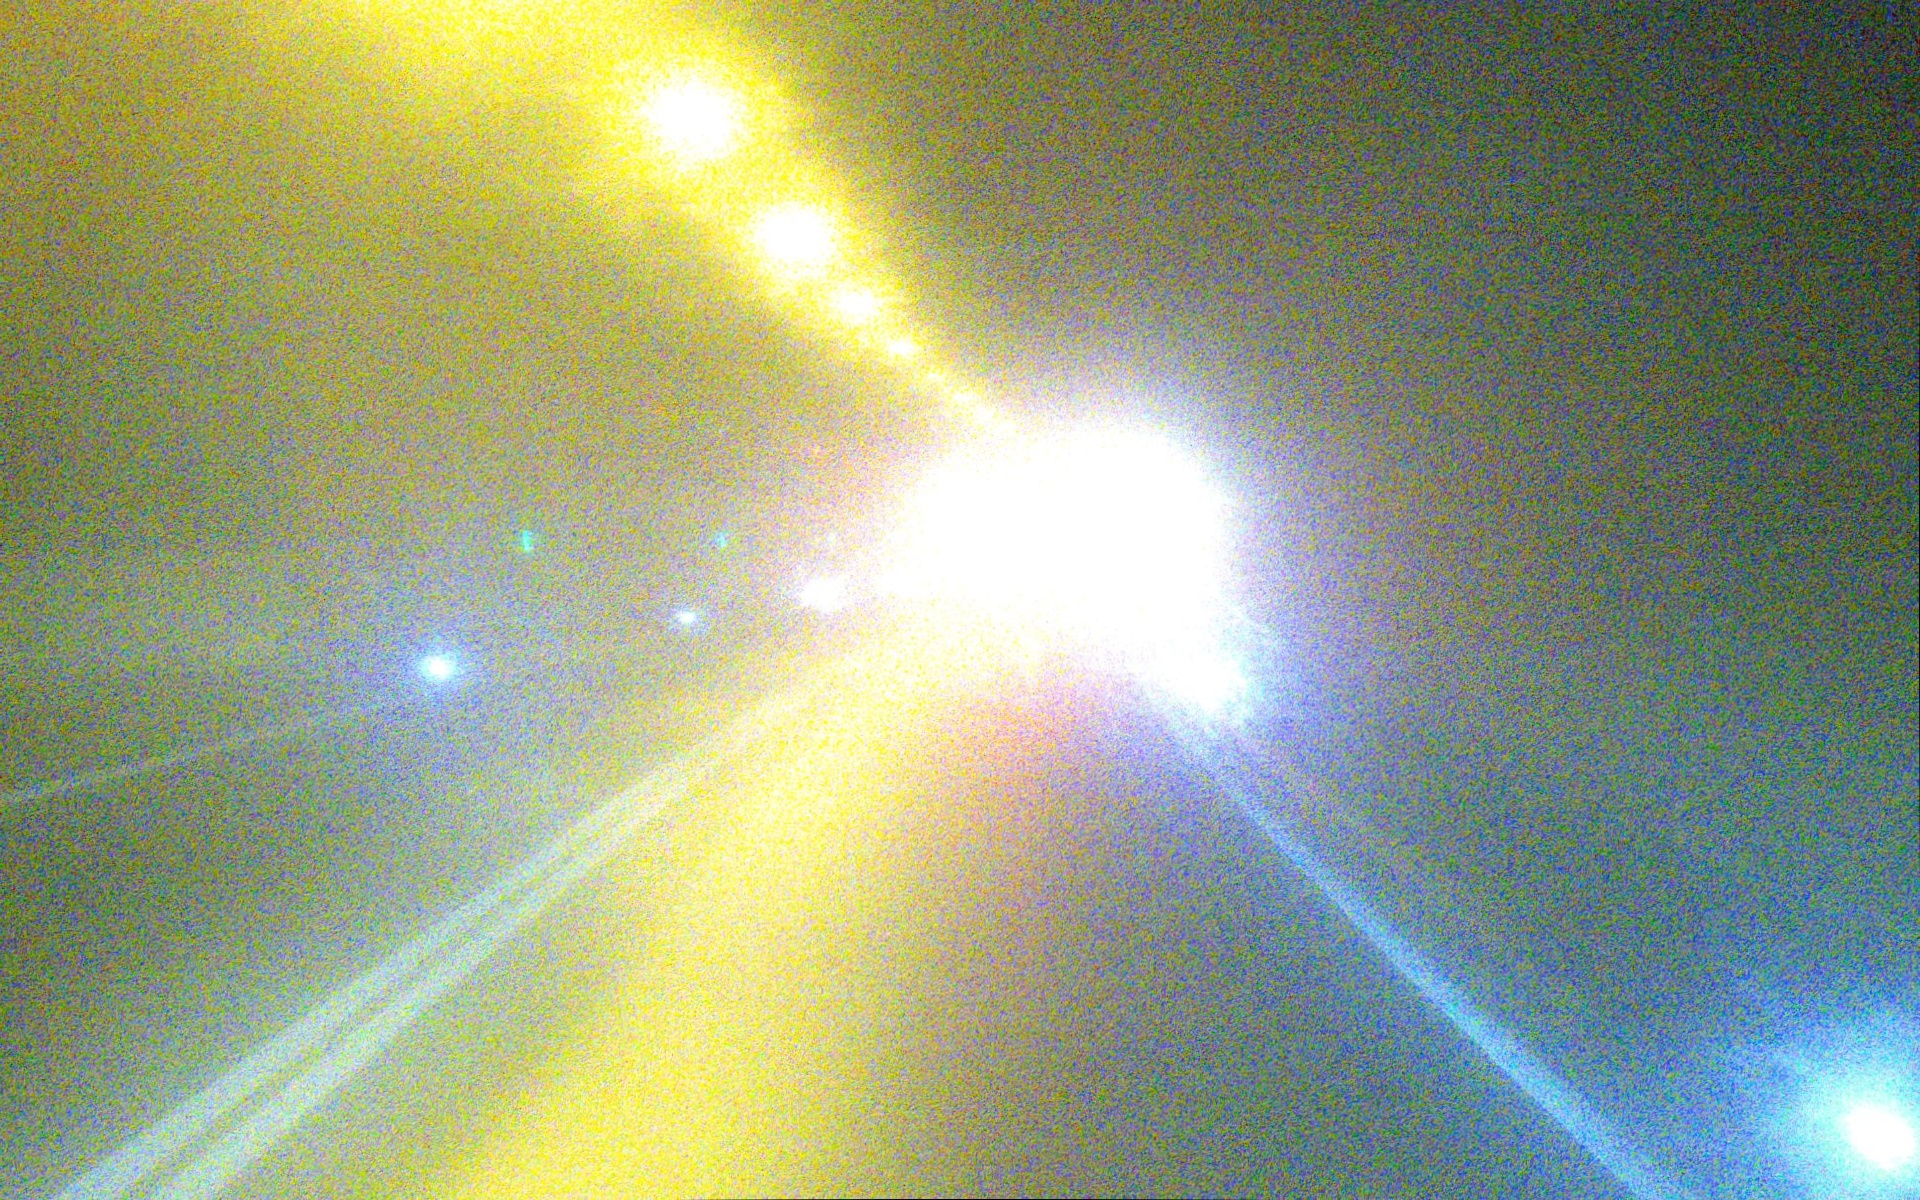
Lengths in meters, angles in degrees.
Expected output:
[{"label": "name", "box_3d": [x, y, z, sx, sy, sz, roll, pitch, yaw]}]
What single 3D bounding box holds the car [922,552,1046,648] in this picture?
[{"label": "car", "box_3d": [0.476, -0.018, 62.324, 2.090, 1.656, 4.000, 1, 0, 3]}]
